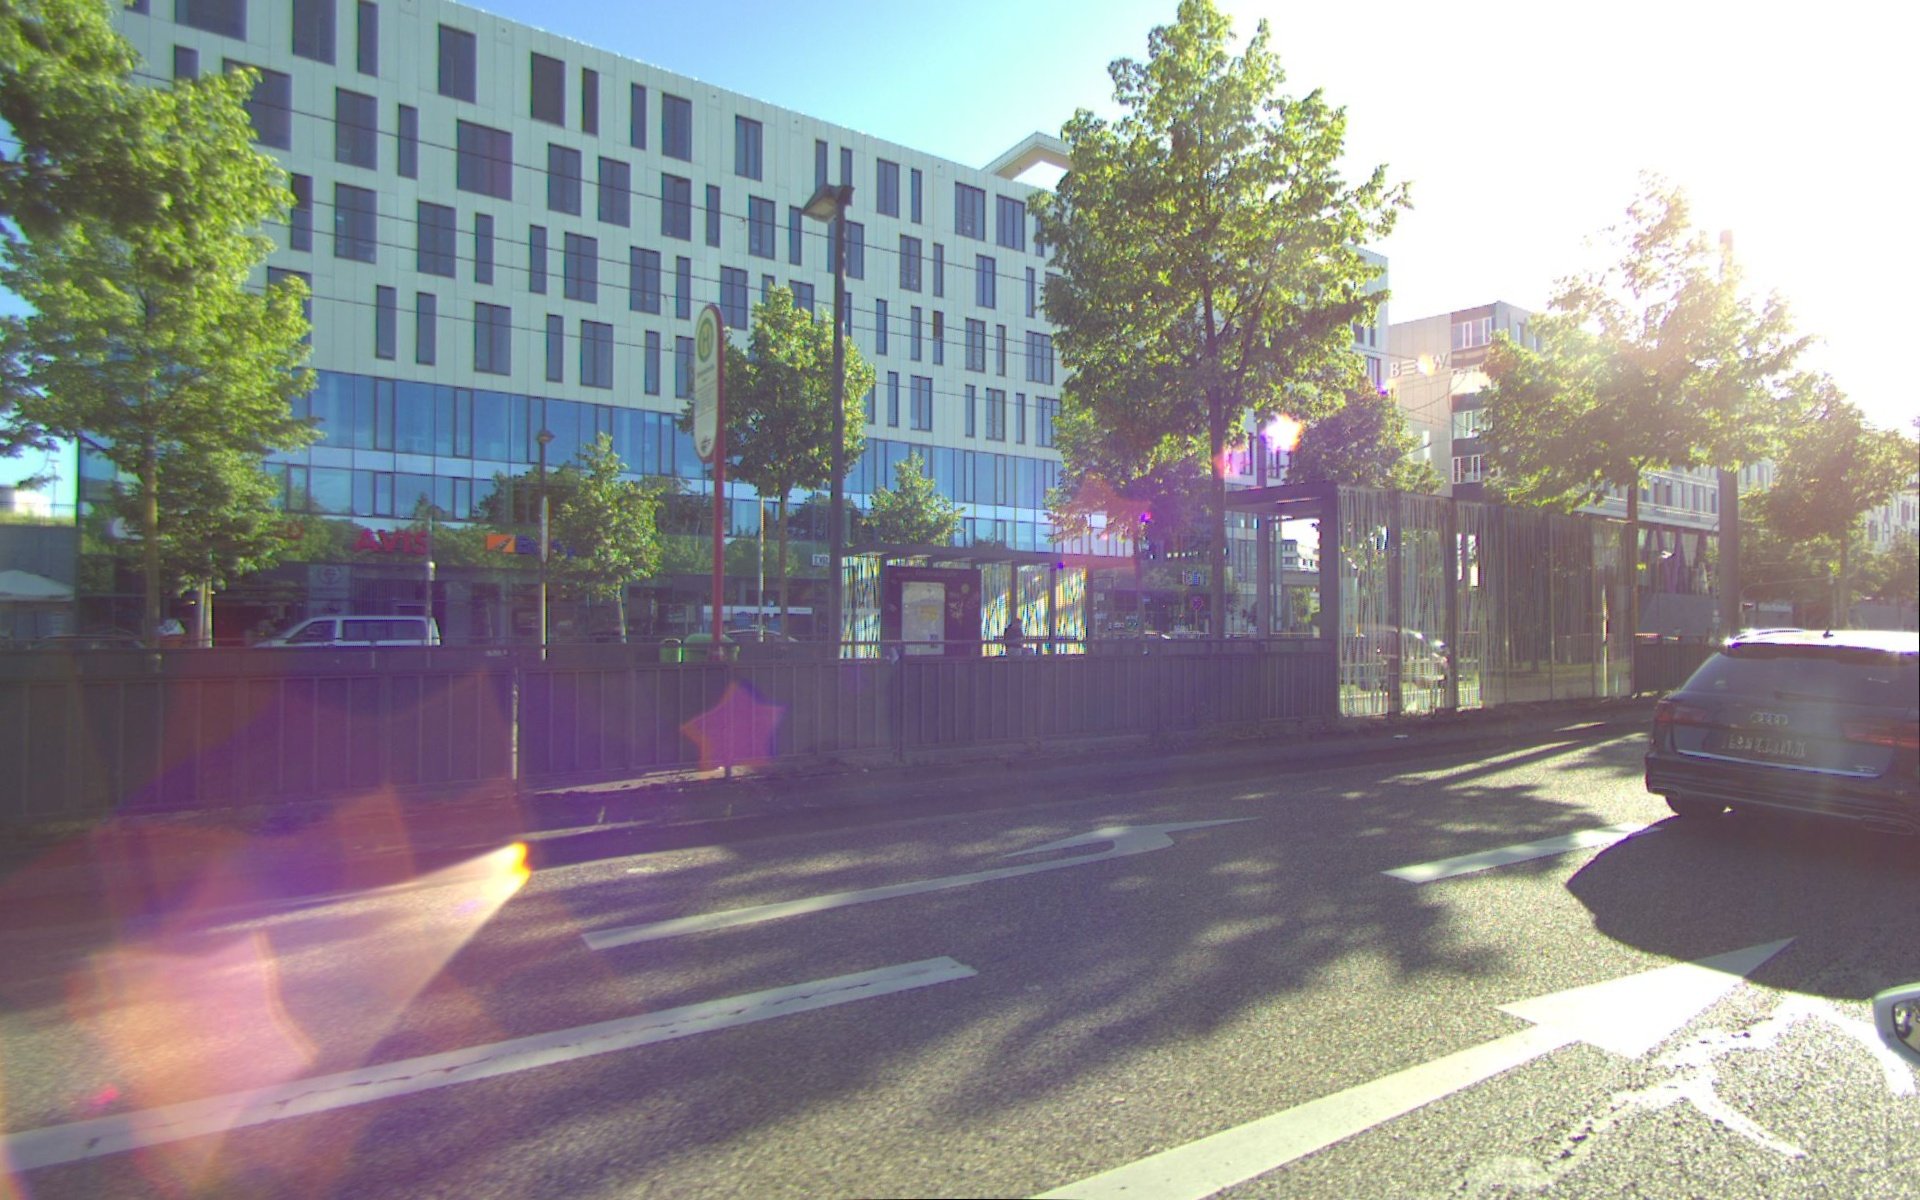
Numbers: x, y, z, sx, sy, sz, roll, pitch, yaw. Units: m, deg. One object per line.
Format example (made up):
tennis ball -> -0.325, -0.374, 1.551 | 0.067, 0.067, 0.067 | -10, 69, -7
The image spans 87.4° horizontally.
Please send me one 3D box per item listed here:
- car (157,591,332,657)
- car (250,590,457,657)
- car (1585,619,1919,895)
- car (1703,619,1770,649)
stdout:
car -> -23.357, 0.799, 33.045 | 4.513, 2.040, 1.982 | 2, 0, -32
car -> -16.856, 0.665, 28.125 | 4.799, 1.737, 1.982 | 2, 0, -33
car -> 7.086, 0.933, 7.634 | 5.027, 1.500, 1.942 | 1, 0, -32
car -> 49.498, 2.169, 64.042 | 3.952, 1.788, 1.985 | 2, 0, -29
